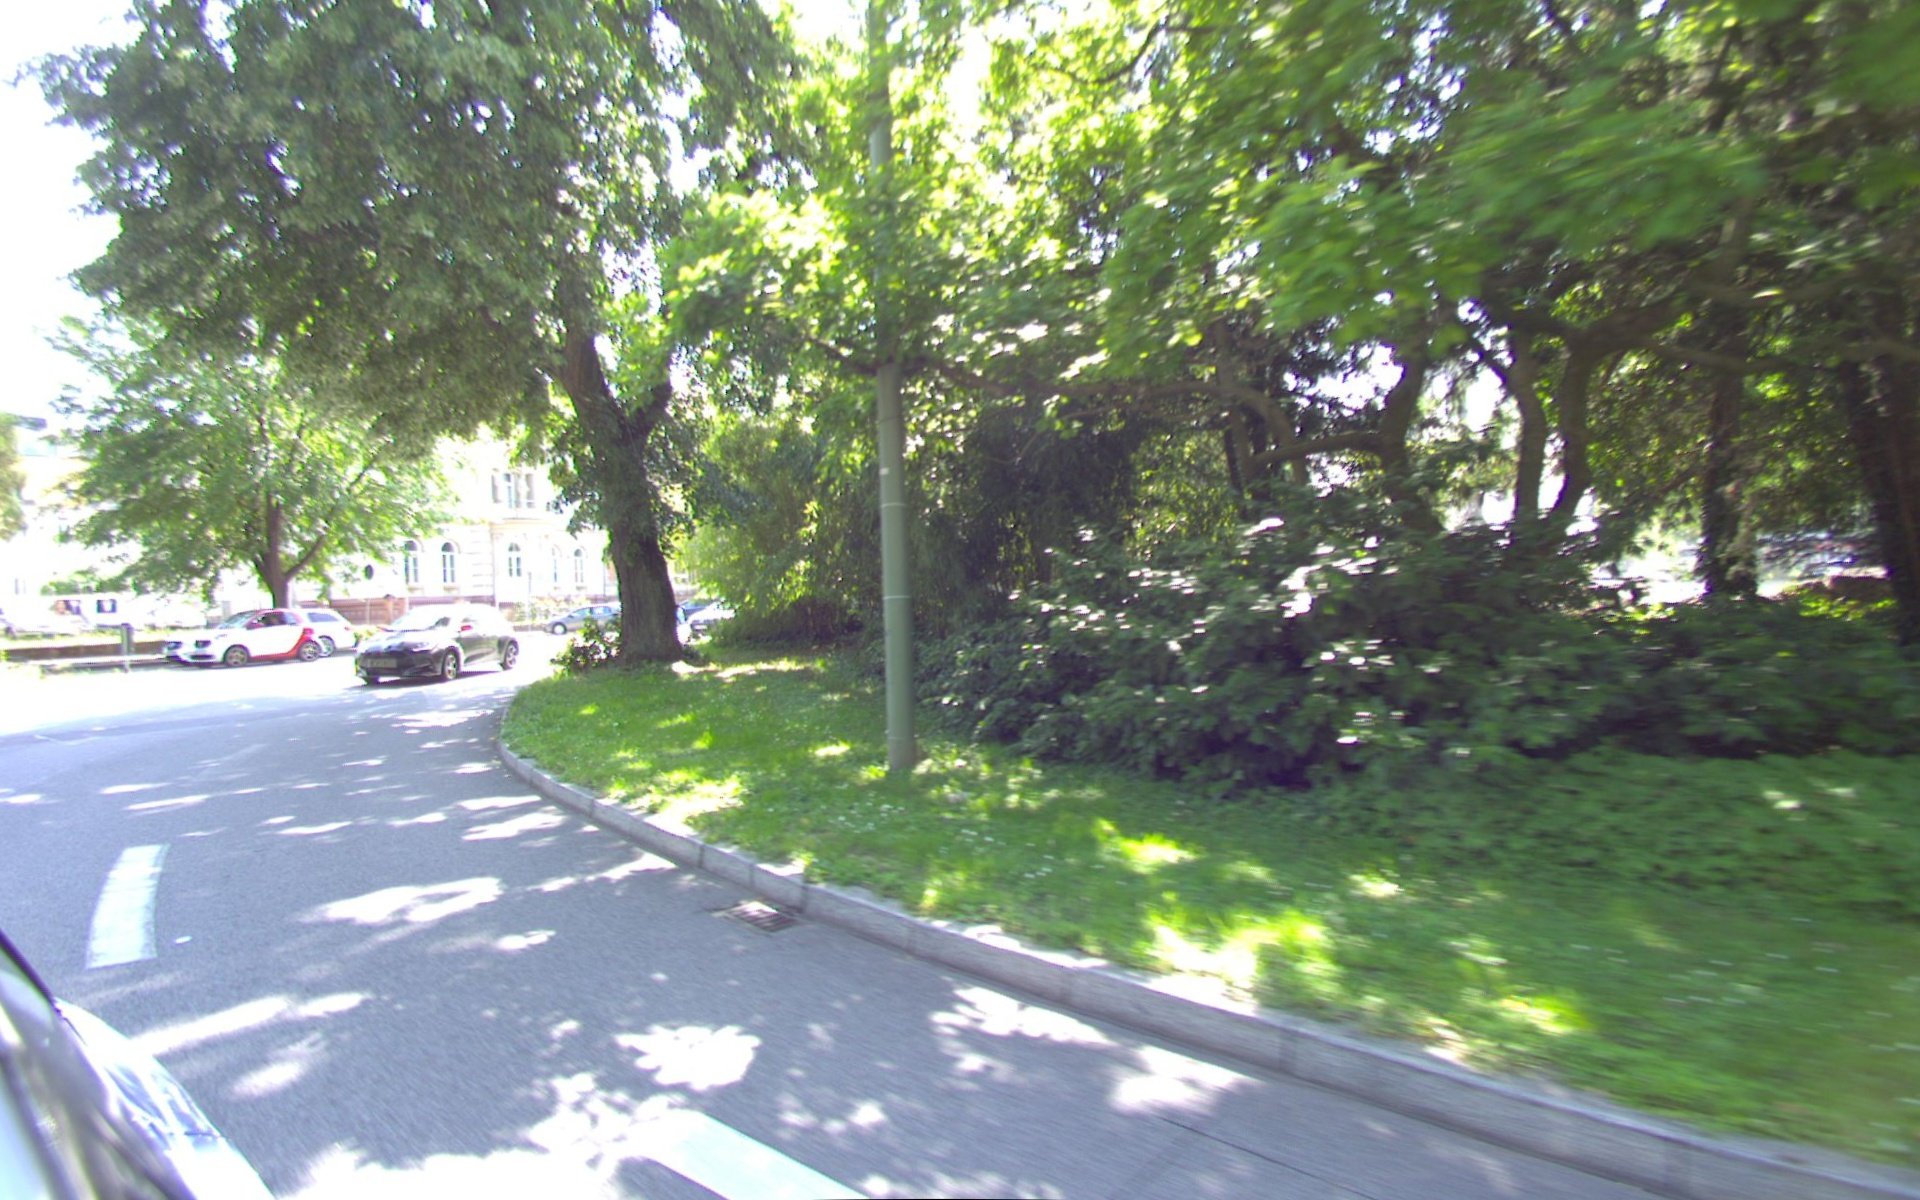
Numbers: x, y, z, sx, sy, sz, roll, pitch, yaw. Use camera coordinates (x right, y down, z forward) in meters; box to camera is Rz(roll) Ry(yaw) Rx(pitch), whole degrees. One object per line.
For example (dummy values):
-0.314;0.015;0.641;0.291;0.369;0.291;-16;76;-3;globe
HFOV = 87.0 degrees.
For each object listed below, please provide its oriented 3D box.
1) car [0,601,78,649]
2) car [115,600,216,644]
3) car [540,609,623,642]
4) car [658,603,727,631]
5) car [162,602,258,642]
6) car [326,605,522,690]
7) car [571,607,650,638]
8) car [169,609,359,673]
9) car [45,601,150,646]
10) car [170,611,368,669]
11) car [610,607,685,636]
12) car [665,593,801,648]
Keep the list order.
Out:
-34.962;0.926;37.711;3.981;1.674;1.834;-2;0;28;car
-33.053;0.919;42.098;3.981;1.674;1.834;-2;0;28;car
-19.300;1.275;51.769;3.886;1.462;1.652;-3;1;-18;car
-16.179;1.015;61.227;3.887;1.462;1.651;-2;1;-15;car
-32.774;0.967;44.203;3.981;1.590;1.834;-2;0;28;car
-10.847;0.906;20.835;1.788;1.462;3.951;-1;1;3;car
-18.759;1.195;54.366;3.886;1.462;1.652;-3;1;-21;car
-18.941;1.082;27.735;1.801;1.462;3.921;-2;1;25;car
-34.062;0.924;39.969;3.981;1.674;1.834;-2;0;28;car
-20.640;1.161;30.470;1.801;1.462;4.649;-2;0;25;car
-17.711;1.193;57.267;3.886;1.462;1.652;-3;1;-21;car
-7.508;0.669;33.774;1.892;1.697;4.082;-1;-1;44;car
